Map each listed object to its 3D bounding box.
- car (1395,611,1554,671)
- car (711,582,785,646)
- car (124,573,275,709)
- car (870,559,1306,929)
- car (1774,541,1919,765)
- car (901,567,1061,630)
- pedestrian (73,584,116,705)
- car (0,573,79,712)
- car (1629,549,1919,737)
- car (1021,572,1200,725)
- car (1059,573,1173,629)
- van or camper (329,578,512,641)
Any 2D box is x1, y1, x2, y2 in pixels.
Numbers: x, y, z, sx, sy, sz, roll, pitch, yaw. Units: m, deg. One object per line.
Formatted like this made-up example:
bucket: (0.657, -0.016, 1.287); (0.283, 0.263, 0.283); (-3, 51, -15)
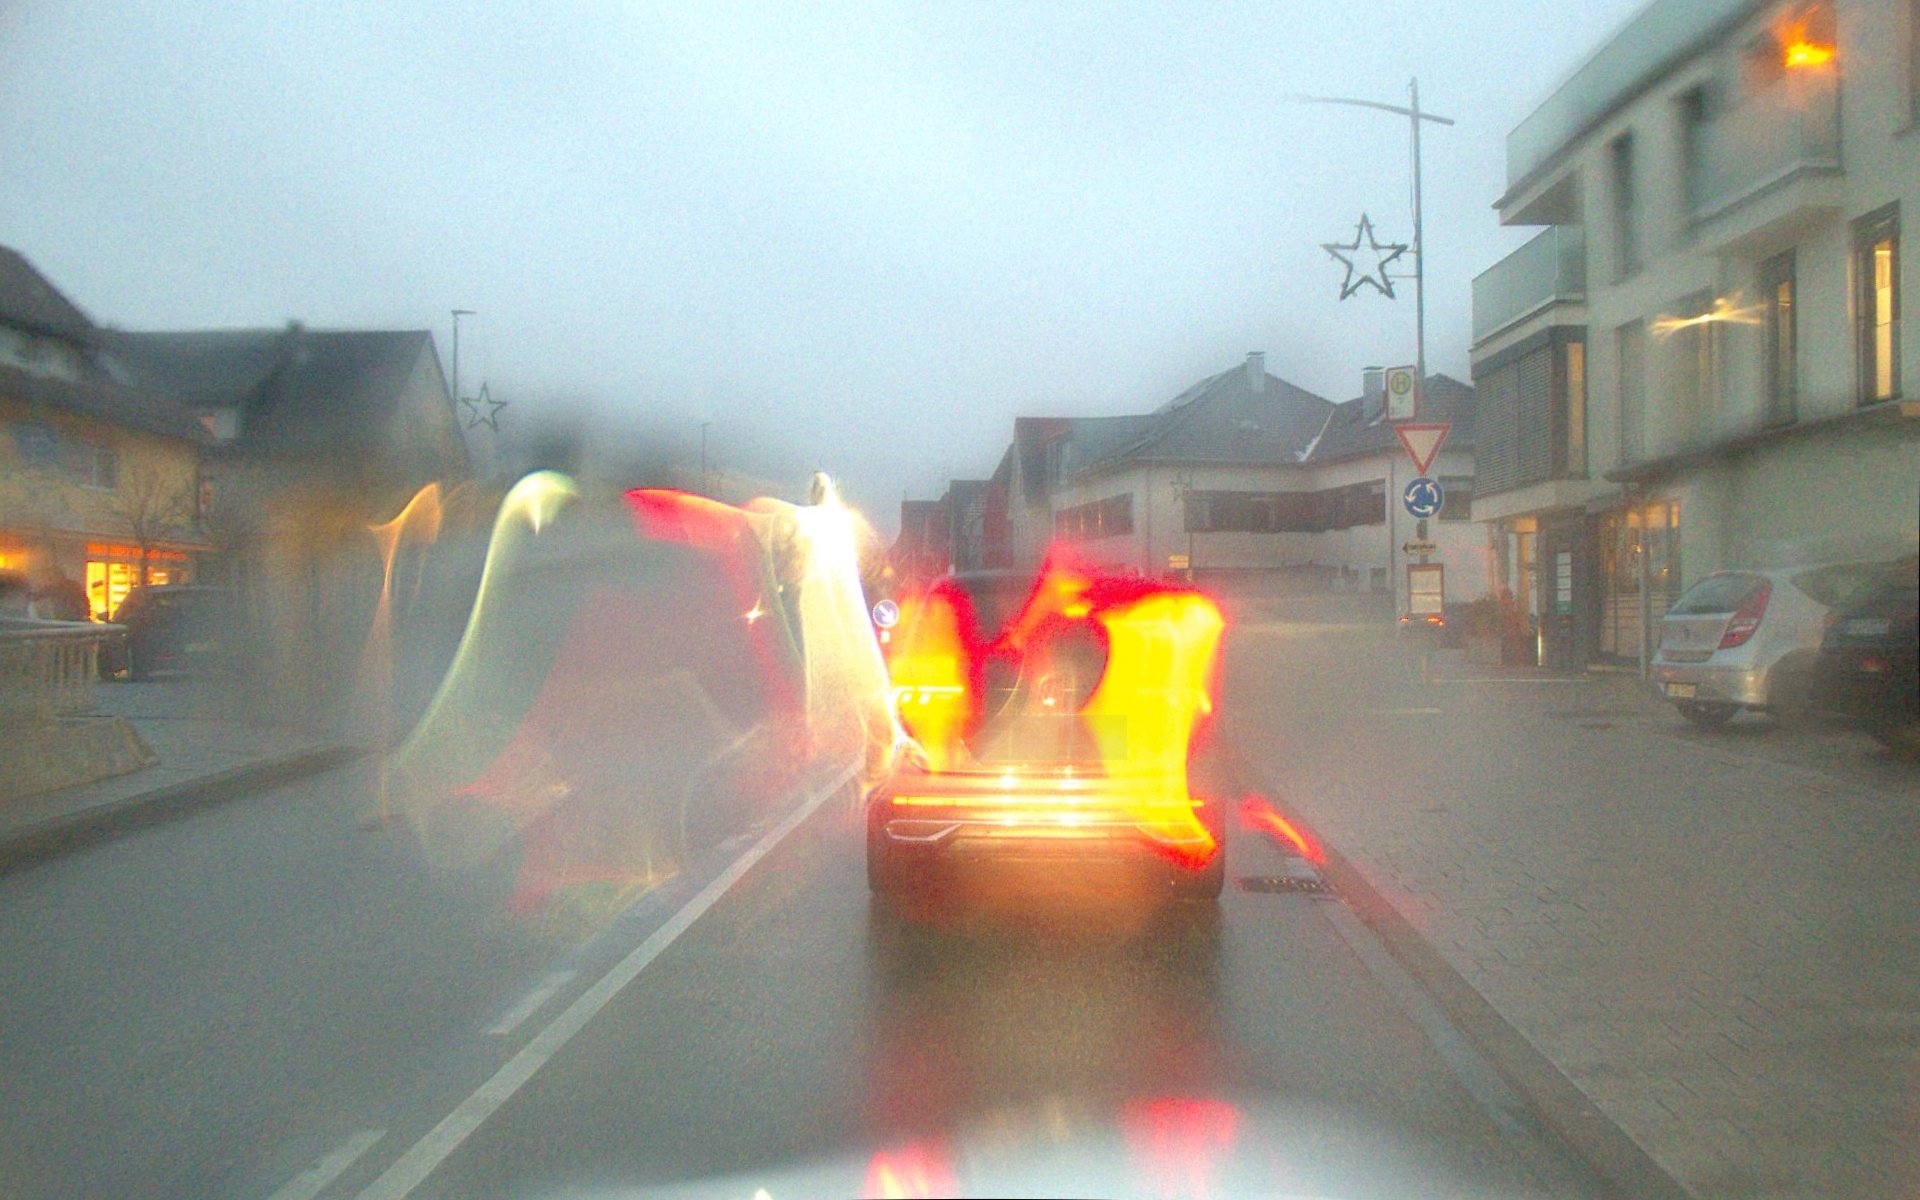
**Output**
car: (14.550, 1.180, 46.774); (3.930, 1.505, 1.987); (3, -2, -22)
car: (-7.834, 0.527, 61.544); (1.952, 2.242, 4.418); (2, -1, 2)
car: (-12.044, 0.584, 26.127); (2.013, 1.959, 4.022); (-1, 0, -26)
car: (0.604, 0.633, 9.569); (1.924, 1.622, 4.313); (1, 0, 1)
car: (8.339, 0.247, 11.861); (4.124, 1.485, 1.791); (-3, 0, -6)
car: (0.532, -0.041, 41.758); (3.904, 1.443, 2.000); (-2, 0, 1)
pedestrian: (-12.784, 0.646, 24.432); (0.490, 1.731, 0.707); (-2, 0, -26)
car: (-14.576, 0.597, 25.078); (2.013, 1.959, 4.022); (-1, 0, -26)
car: (8.508, 0.298, 14.984); (4.124, 1.485, 1.791); (-3, 0, -6)
car: (1.546, 0.468, 18.234); (1.648, 1.478, 4.000); (1, 0, 1)
car: (5.949, 0.014, 63.668); (2.136, 2.026, 4.451); (0, 1, -31)
van or camper: (-17.619, 0.301, 54.075); (5.412, 1.989, 2.002); (0, 0, 14)
